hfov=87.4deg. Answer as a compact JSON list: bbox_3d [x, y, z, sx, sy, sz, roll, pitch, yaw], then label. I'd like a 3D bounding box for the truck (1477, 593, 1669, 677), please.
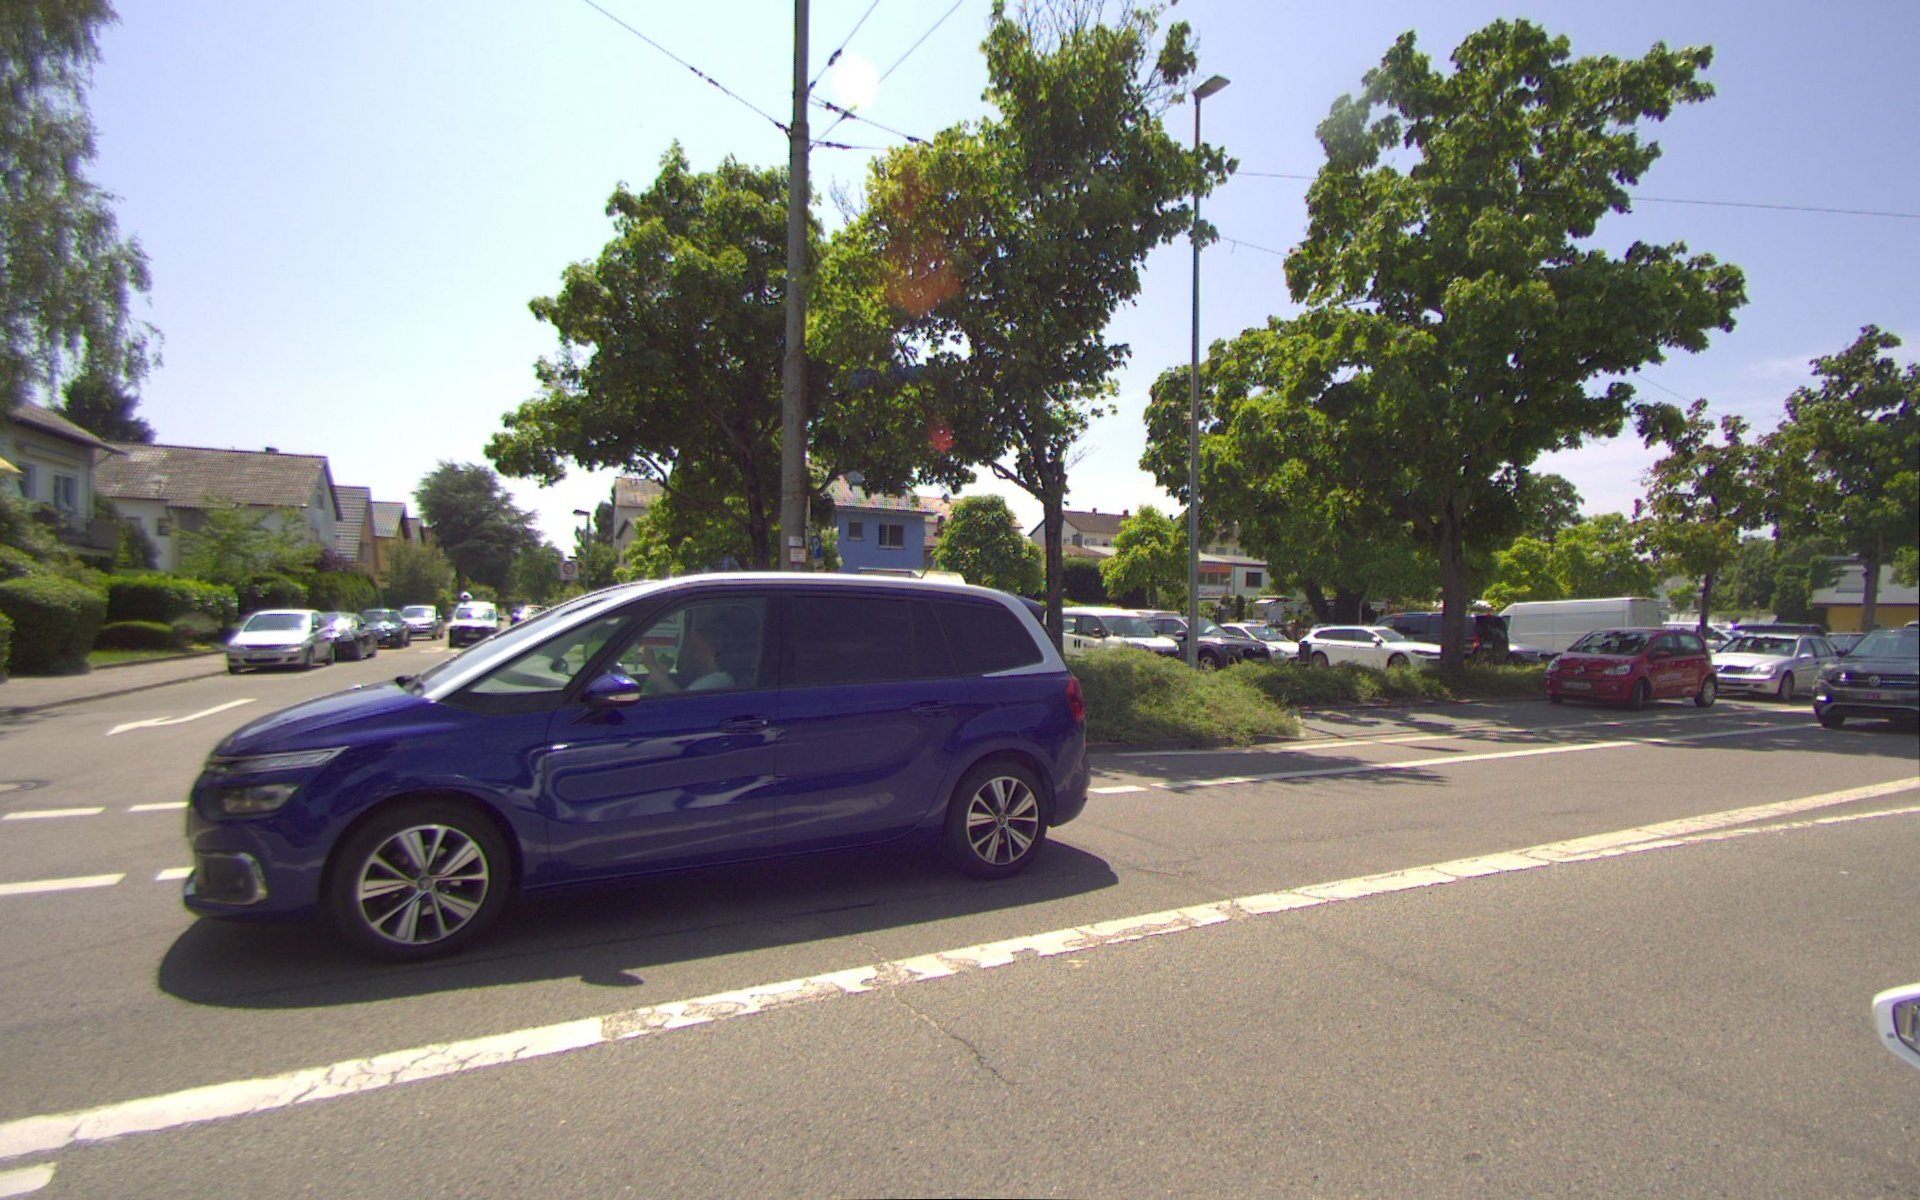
[{"bbox_3d":[22.147,1.203,36.586,2.402,2.796,5.554,1,-1,-28],"label":"truck"}]

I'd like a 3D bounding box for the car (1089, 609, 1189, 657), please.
[{"bbox_3d":[7.476,1.344,42.326,1.948,1.845,4.107,2,0,-30],"label":"car"}]

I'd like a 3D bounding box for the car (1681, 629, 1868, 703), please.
[{"bbox_3d":[18.375,1.446,22.610,4.715,1.446,1.710,2,1,-31],"label":"car"}]

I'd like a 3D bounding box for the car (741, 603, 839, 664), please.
[{"bbox_3d":[-5.810,1.068,33.909,1.915,1.845,4.689,1,0,-27],"label":"car"}]

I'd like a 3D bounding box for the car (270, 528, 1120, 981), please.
[{"bbox_3d":[-1.241,0.639,5.509,4.019,1.678,1.729,2,-2,-31],"label":"car"}]

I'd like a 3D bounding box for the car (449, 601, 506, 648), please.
[{"bbox_3d":[-18.943,0.943,39.538,1.716,1.729,4.213,1,-1,-22],"label":"car"}]

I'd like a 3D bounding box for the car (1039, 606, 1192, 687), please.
[{"bbox_3d":[3.839,1.112,25.538,1.652,1.860,4.250,1,-1,-27],"label":"car"}]

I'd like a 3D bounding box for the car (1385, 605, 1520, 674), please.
[{"bbox_3d":[15.648,1.252,31.891,4.175,2.021,1.841,2,0,-31],"label":"car"}]

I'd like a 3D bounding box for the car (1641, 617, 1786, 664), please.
[{"bbox_3d":[32.369,1.707,43.316,1.776,1.837,4.694,1,-1,-31],"label":"car"}]

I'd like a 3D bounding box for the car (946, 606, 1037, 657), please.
[{"bbox_3d":[1.189,1.205,39.582,1.628,1.845,4.107,1,0,-30],"label":"car"}]

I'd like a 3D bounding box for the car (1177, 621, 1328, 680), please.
[{"bbox_3d":[8.370,1.412,29.085,1.907,1.528,4.106,1,-1,-27],"label":"car"}]

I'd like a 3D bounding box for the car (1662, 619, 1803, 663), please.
[{"bbox_3d":[34.508,1.799,45.013,1.776,1.837,4.694,1,-1,-31],"label":"car"}]

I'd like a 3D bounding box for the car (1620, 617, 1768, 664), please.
[{"bbox_3d":[30.709,1.651,42.175,1.776,1.837,4.694,1,-1,-31],"label":"car"}]

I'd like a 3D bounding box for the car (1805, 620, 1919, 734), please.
[{"bbox_3d":[14.888,1.142,15.508,3.670,1.596,1.729,2,-2,-31],"label":"car"}]

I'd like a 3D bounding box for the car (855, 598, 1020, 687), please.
[{"bbox_3d":[-0.656,0.934,23.663,2.037,1.881,4.427,1,-1,-30],"label":"car"}]

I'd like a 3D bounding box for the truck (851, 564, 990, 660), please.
[{"bbox_3d":[-1.657,0.409,37.795,2.126,3.270,6.940,1,0,-31],"label":"truck"}]

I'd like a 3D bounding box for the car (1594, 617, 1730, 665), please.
[{"bbox_3d":[28.480,1.617,40.870,1.836,1.789,4.188,1,-1,-31],"label":"car"}]

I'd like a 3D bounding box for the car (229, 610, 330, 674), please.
[{"bbox_3d":[-16.426,0.967,24.398,1.526,1.412,3.880,1,-1,-27],"label":"car"}]

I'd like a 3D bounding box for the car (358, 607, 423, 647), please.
[{"bbox_3d":[-21.083,0.983,37.301,1.523,1.412,3.888,1,-1,-21],"label":"car"}]

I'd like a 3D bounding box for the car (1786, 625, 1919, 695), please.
[{"bbox_3d":[22.475,1.457,24.975,3.737,1.504,1.607,2,3,-28],"label":"car"}]

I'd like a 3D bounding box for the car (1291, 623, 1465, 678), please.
[{"bbox_3d":[12.896,1.525,31.303,2.035,1.508,4.737,1,-1,-31],"label":"car"}]

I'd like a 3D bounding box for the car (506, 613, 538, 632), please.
[{"bbox_3d":[-27.630,1.381,63.326,1.526,1.141,3.880,1,-1,-28],"label":"car"}]

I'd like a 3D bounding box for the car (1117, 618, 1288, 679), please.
[{"bbox_3d":[6.357,1.233,26.757,2.059,1.422,4.170,2,-1,-34],"label":"car"}]

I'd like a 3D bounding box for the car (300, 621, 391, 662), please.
[{"bbox_3d":[-17.735,1.167,29.146,1.522,1.005,3.731,1,0,-20],"label":"car"}]

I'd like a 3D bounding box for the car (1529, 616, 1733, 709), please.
[{"bbox_3d":[12.806,1.168,19.158,3.680,1.567,1.665,2,0,-28],"label":"car"}]

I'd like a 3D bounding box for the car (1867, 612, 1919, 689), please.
[{"bbox_3d":[27.240,1.416,27.588,4.746,1.963,1.854,2,3,-28],"label":"car"}]

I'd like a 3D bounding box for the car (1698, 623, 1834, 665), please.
[{"bbox_3d":[37.843,2.023,47.310,1.775,1.837,4.697,1,-1,-29],"label":"car"}]

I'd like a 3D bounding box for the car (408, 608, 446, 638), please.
[{"bbox_3d":[-25.025,1.047,47.203,1.526,1.347,3.880,1,-1,-28],"label":"car"}]

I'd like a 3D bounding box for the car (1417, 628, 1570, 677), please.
[{"bbox_3d":[17.692,1.703,33.522,1.836,1.430,4.188,1,-1,-31],"label":"car"}]
